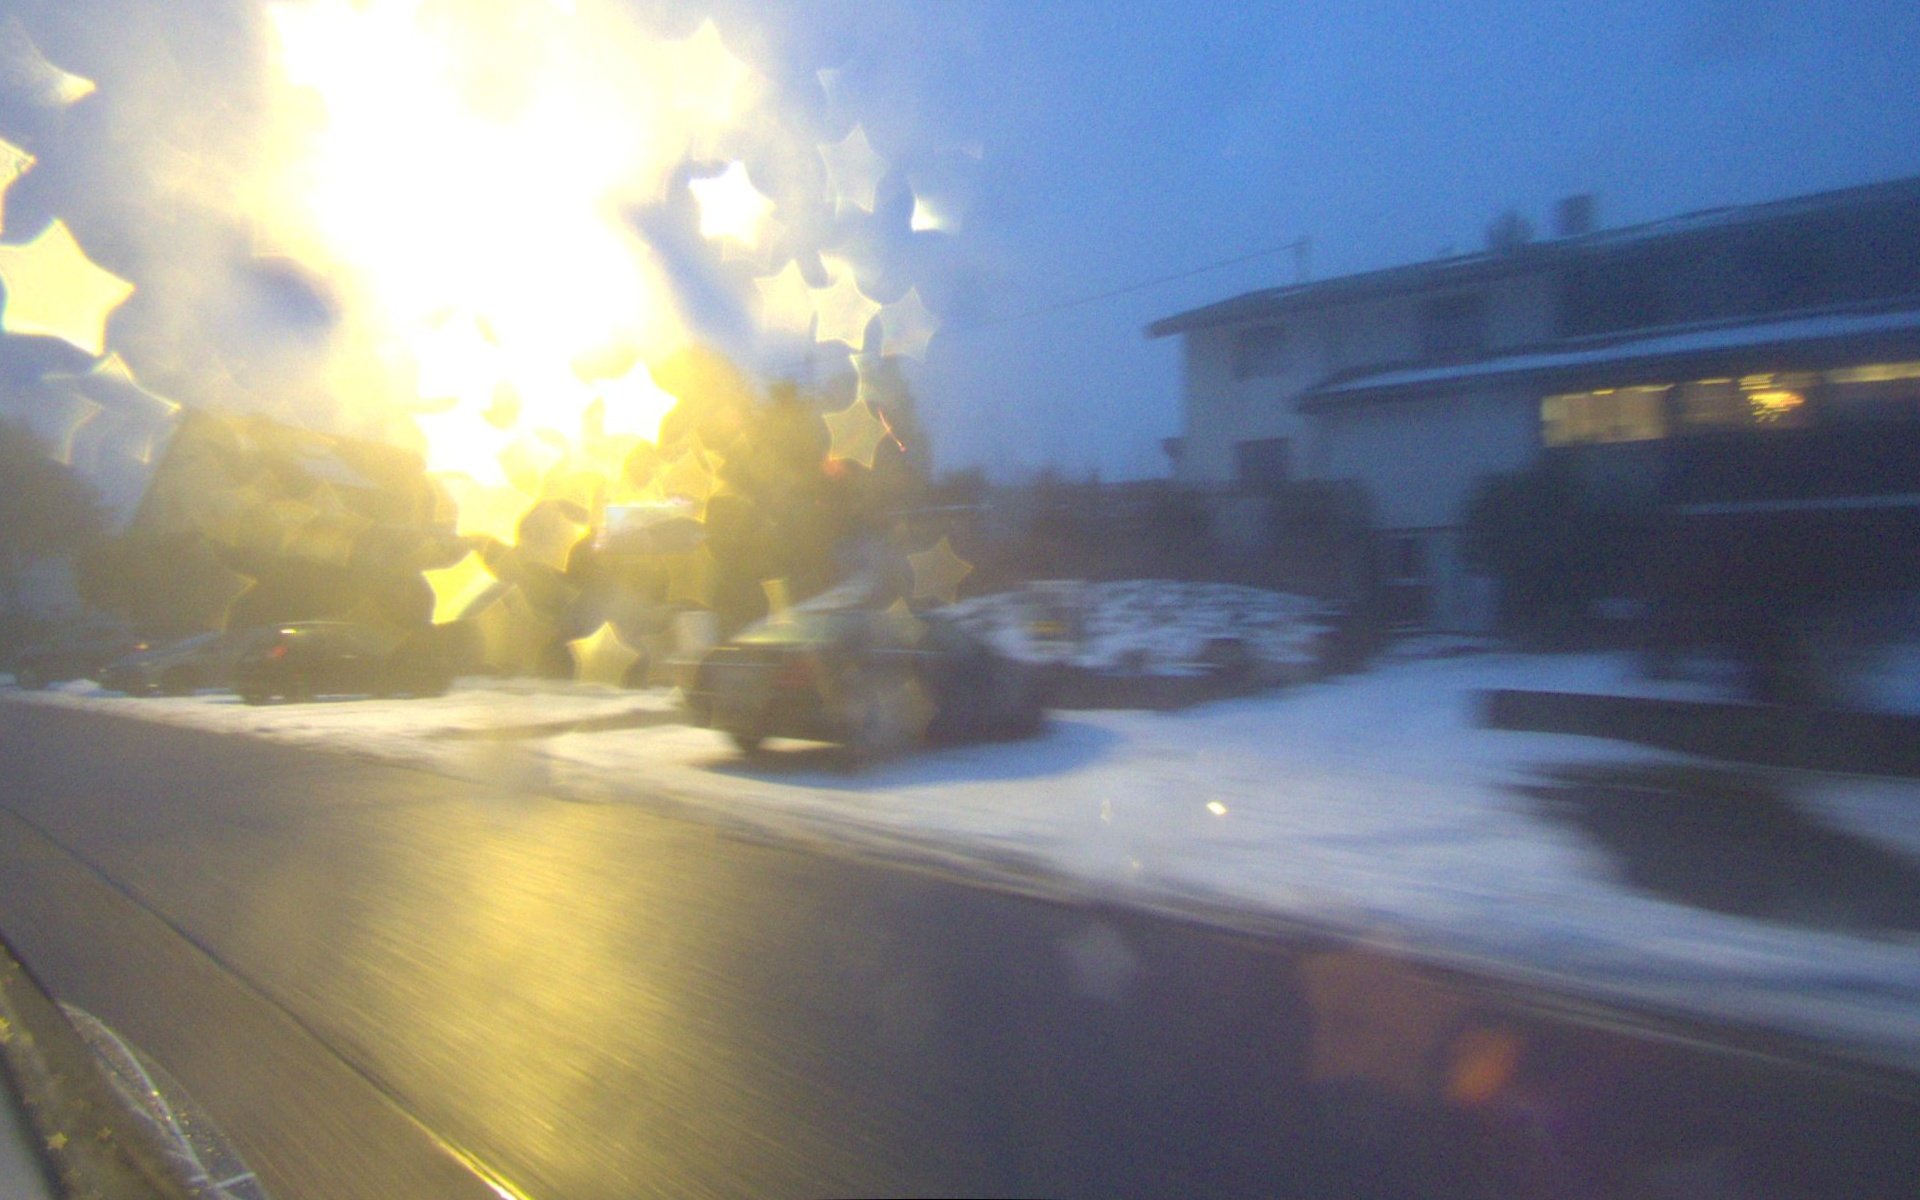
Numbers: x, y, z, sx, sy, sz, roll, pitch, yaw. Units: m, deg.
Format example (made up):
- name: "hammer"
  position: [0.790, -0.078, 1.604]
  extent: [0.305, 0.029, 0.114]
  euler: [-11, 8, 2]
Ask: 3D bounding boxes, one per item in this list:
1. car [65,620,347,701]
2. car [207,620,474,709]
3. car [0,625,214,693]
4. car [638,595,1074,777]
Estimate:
- name: "car"
  position: [-16.304, 1.282, 22.187]
  extent: [2.099, 1.578, 4.503]
  euler: [-2, -3, 25]
- name: "car"
  position: [-11.461, 1.163, 18.980]
  extent: [1.931, 1.483, 3.827]
  euler: [-2, -3, 30]
- name: "car"
  position: [-21.305, 1.453, 25.026]
  extent: [4.953, 1.578, 1.989]
  euler: [-1, -4, 16]
- name: "car"
  position: [-0.818, 0.825, 10.961]
  extent: [2.117, 1.496, 4.847]
  euler: [-2, -3, 33]
